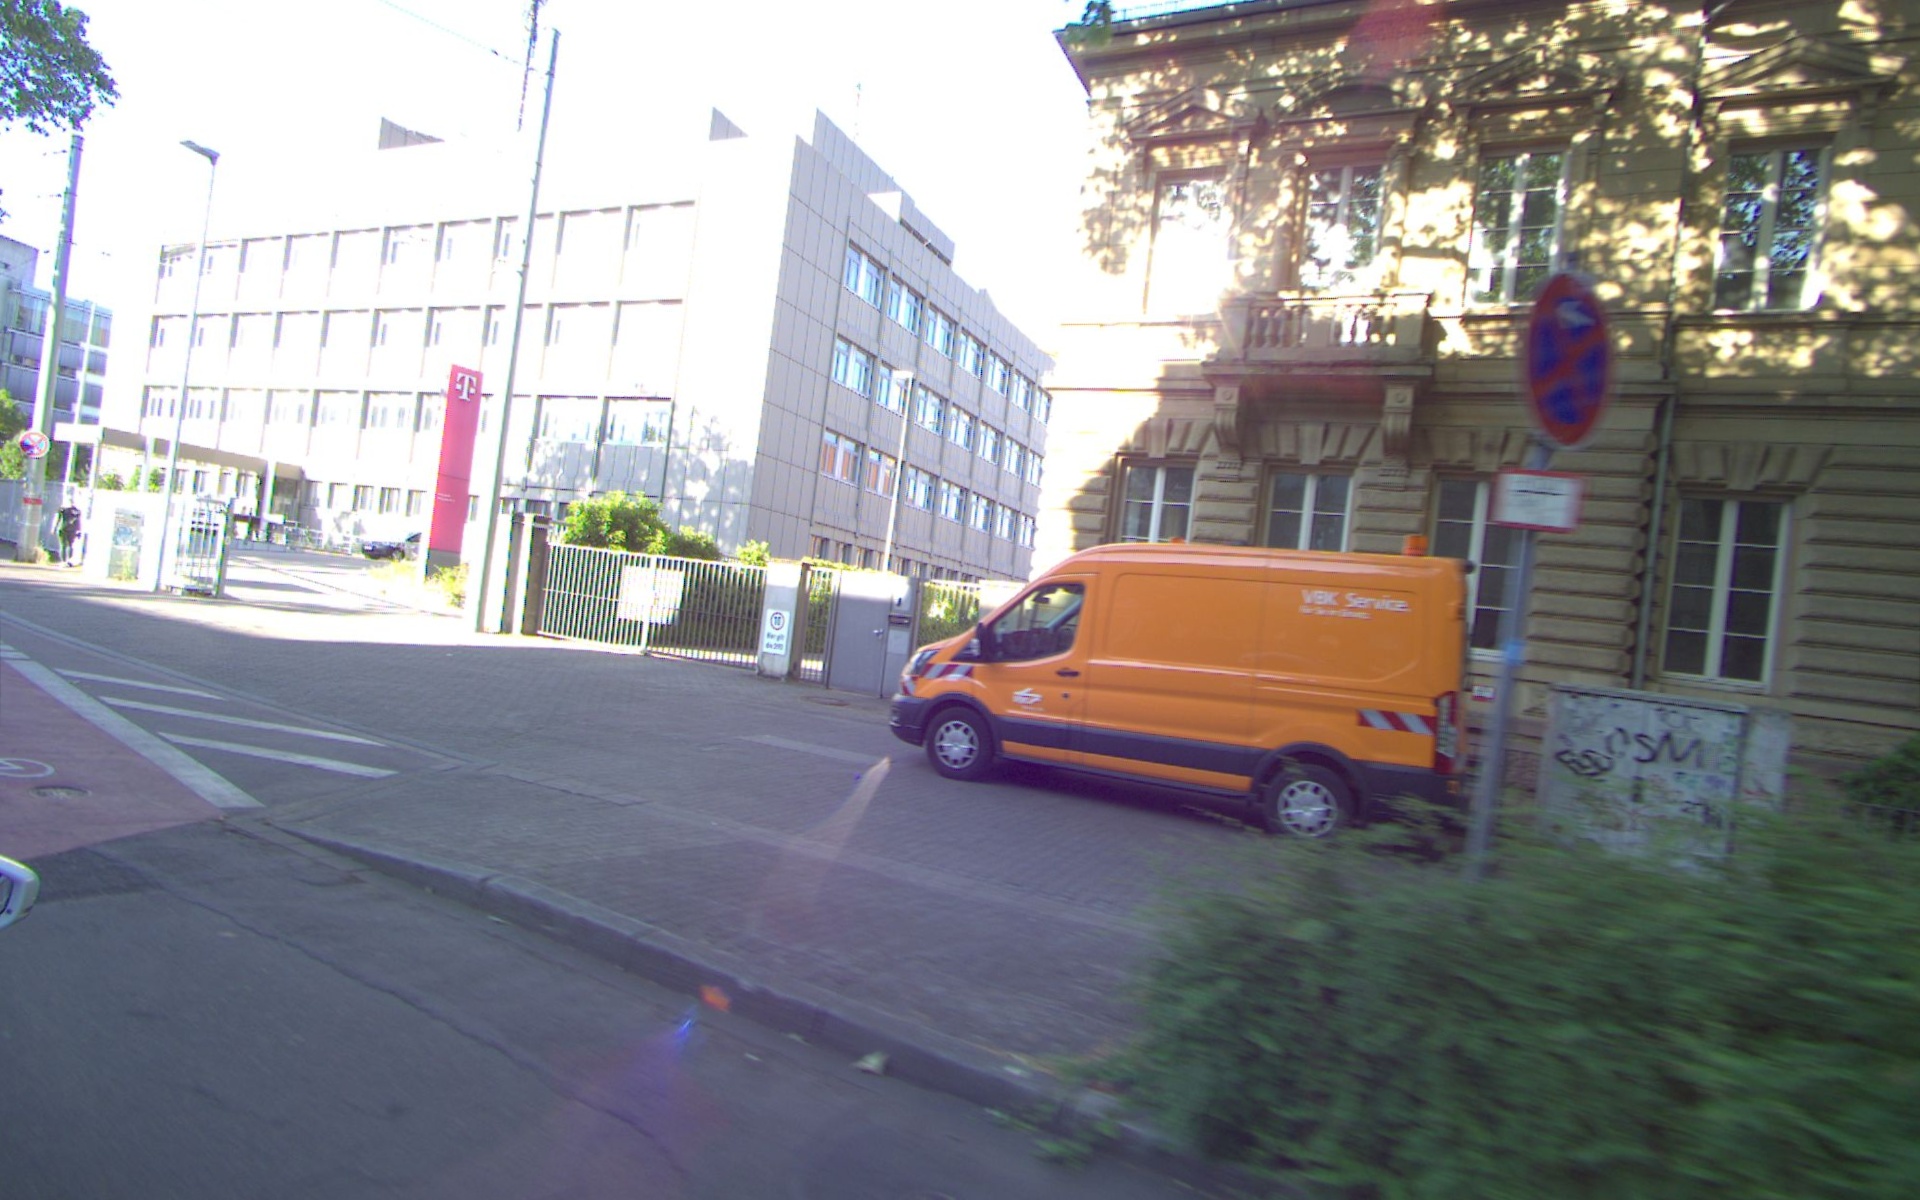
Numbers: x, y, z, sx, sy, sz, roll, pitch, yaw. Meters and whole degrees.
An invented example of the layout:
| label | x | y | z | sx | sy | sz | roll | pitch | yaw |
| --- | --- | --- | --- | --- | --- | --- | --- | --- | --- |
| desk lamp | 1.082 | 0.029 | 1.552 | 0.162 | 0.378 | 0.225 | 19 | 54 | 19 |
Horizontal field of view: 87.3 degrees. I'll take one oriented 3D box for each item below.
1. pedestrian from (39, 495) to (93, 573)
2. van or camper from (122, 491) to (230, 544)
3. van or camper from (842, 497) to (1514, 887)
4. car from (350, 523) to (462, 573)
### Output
| label | x | y | z | sx | sy | sz | roll | pitch | yaw |
| --- | --- | --- | --- | --- | --- | --- | --- | --- | --- |
| pedestrian | -21.142 | -1.559 | 23.793 | 0.917 | 1.704 | 0.695 | 7 | 0 | 41 |
| van or camper | -37.799 | -3.987 | 48.489 | 4.910 | 1.932 | 1.986 | 7 | 0 | 25 |
| van or camper | 1.920 | 0.630 | 9.686 | 5.672 | 2.590 | 2.041 | 7 | -1 | 28 |
| car | -26.666 | -2.492 | 48.574 | 1.958 | 1.738 | 4.264 | 7 | -1 | 25 |
